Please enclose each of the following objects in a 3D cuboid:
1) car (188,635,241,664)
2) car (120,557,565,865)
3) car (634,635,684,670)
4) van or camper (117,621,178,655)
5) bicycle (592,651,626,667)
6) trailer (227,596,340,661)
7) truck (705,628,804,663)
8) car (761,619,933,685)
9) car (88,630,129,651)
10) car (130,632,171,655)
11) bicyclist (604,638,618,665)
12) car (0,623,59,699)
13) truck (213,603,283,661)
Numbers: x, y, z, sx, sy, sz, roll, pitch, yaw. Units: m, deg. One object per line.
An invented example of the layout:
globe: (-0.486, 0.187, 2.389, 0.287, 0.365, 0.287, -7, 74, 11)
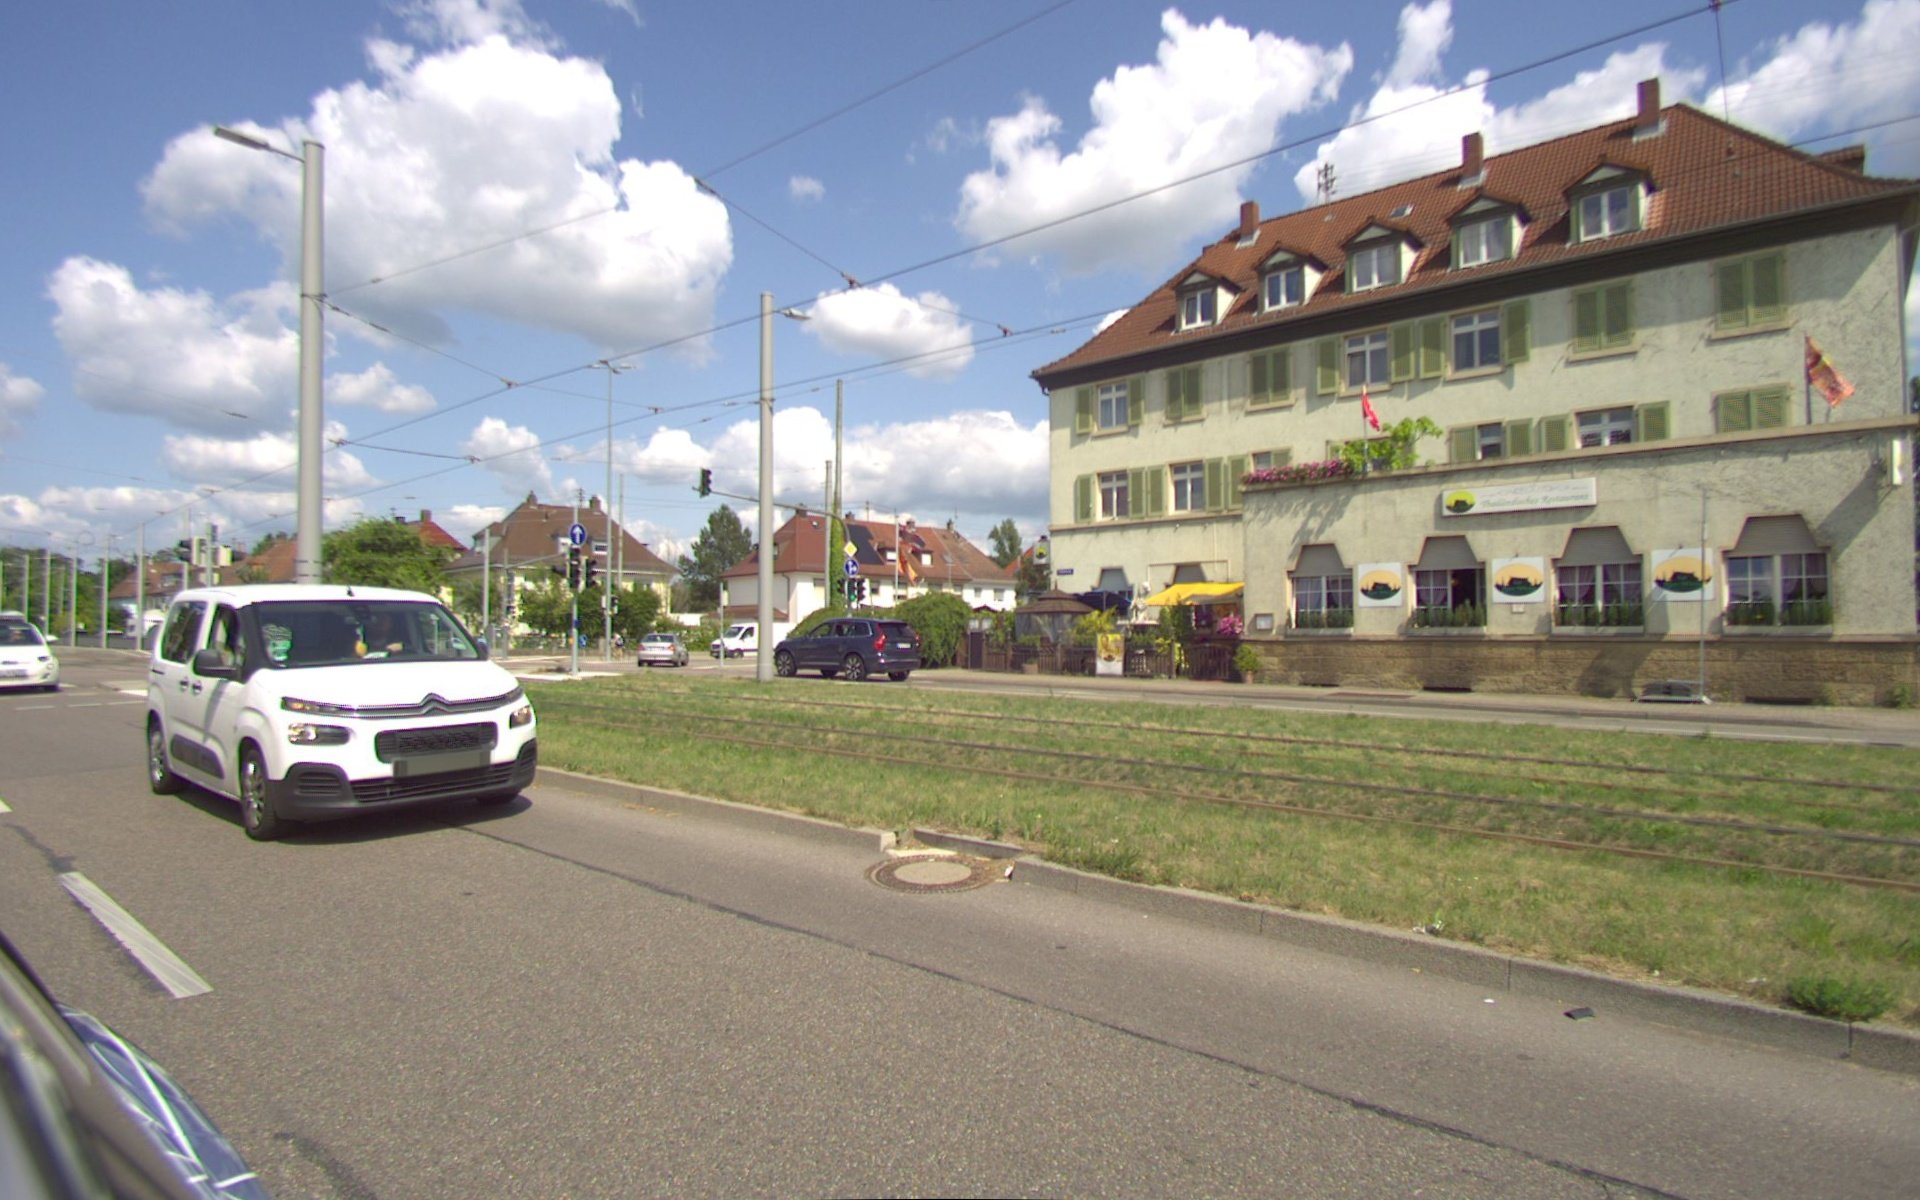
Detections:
car: (-49.463, 3.292, 67.109, 4.709, 1.829, 1.776, -1, -3, 40)
car: (-5.100, 0.691, 8.098, 4.326, 1.829, 1.776, -1, -1, 40)
car: (-12.767, 2.217, 43.132, 1.770, 1.397, 4.482, 1, -2, -13)
van or camper: (-72.171, 3.378, 89.837, 7.738, 2.952, 2.303, -1, -2, 36)
bicycle: (-20.139, 3.377, 58.078, 0.602, 0.841, 1.784, -1, -1, 42)
trailer: (-44.498, 2.034, 66.310, 12.826, 3.851, 2.572, -3, -6, 40)
truck: (-12.489, 2.726, 61.886, 1.690, 1.936, 6.117, -1, -1, 43)
car: (-3.286, 1.438, 28.729, 4.932, 1.725, 1.994, -1, -3, 40)
car: (-72.284, 3.430, 85.885, 4.175, 1.564, 1.973, -1, -5, 41)
car: (-61.377, 3.291, 76.711, 4.470, 1.649, 1.775, -1, -3, 43)
bicyclist: (-20.068, 2.945, 58.223, 0.602, 1.509, 0.494, -1, -1, 43)
car: (-20.703, 1.295, 21.567, 3.388, 1.515, 1.660, -2, -1, 38)
truck: (-49.987, 2.339, 71.010, 5.664, 3.851, 2.571, -3, -6, 41)
